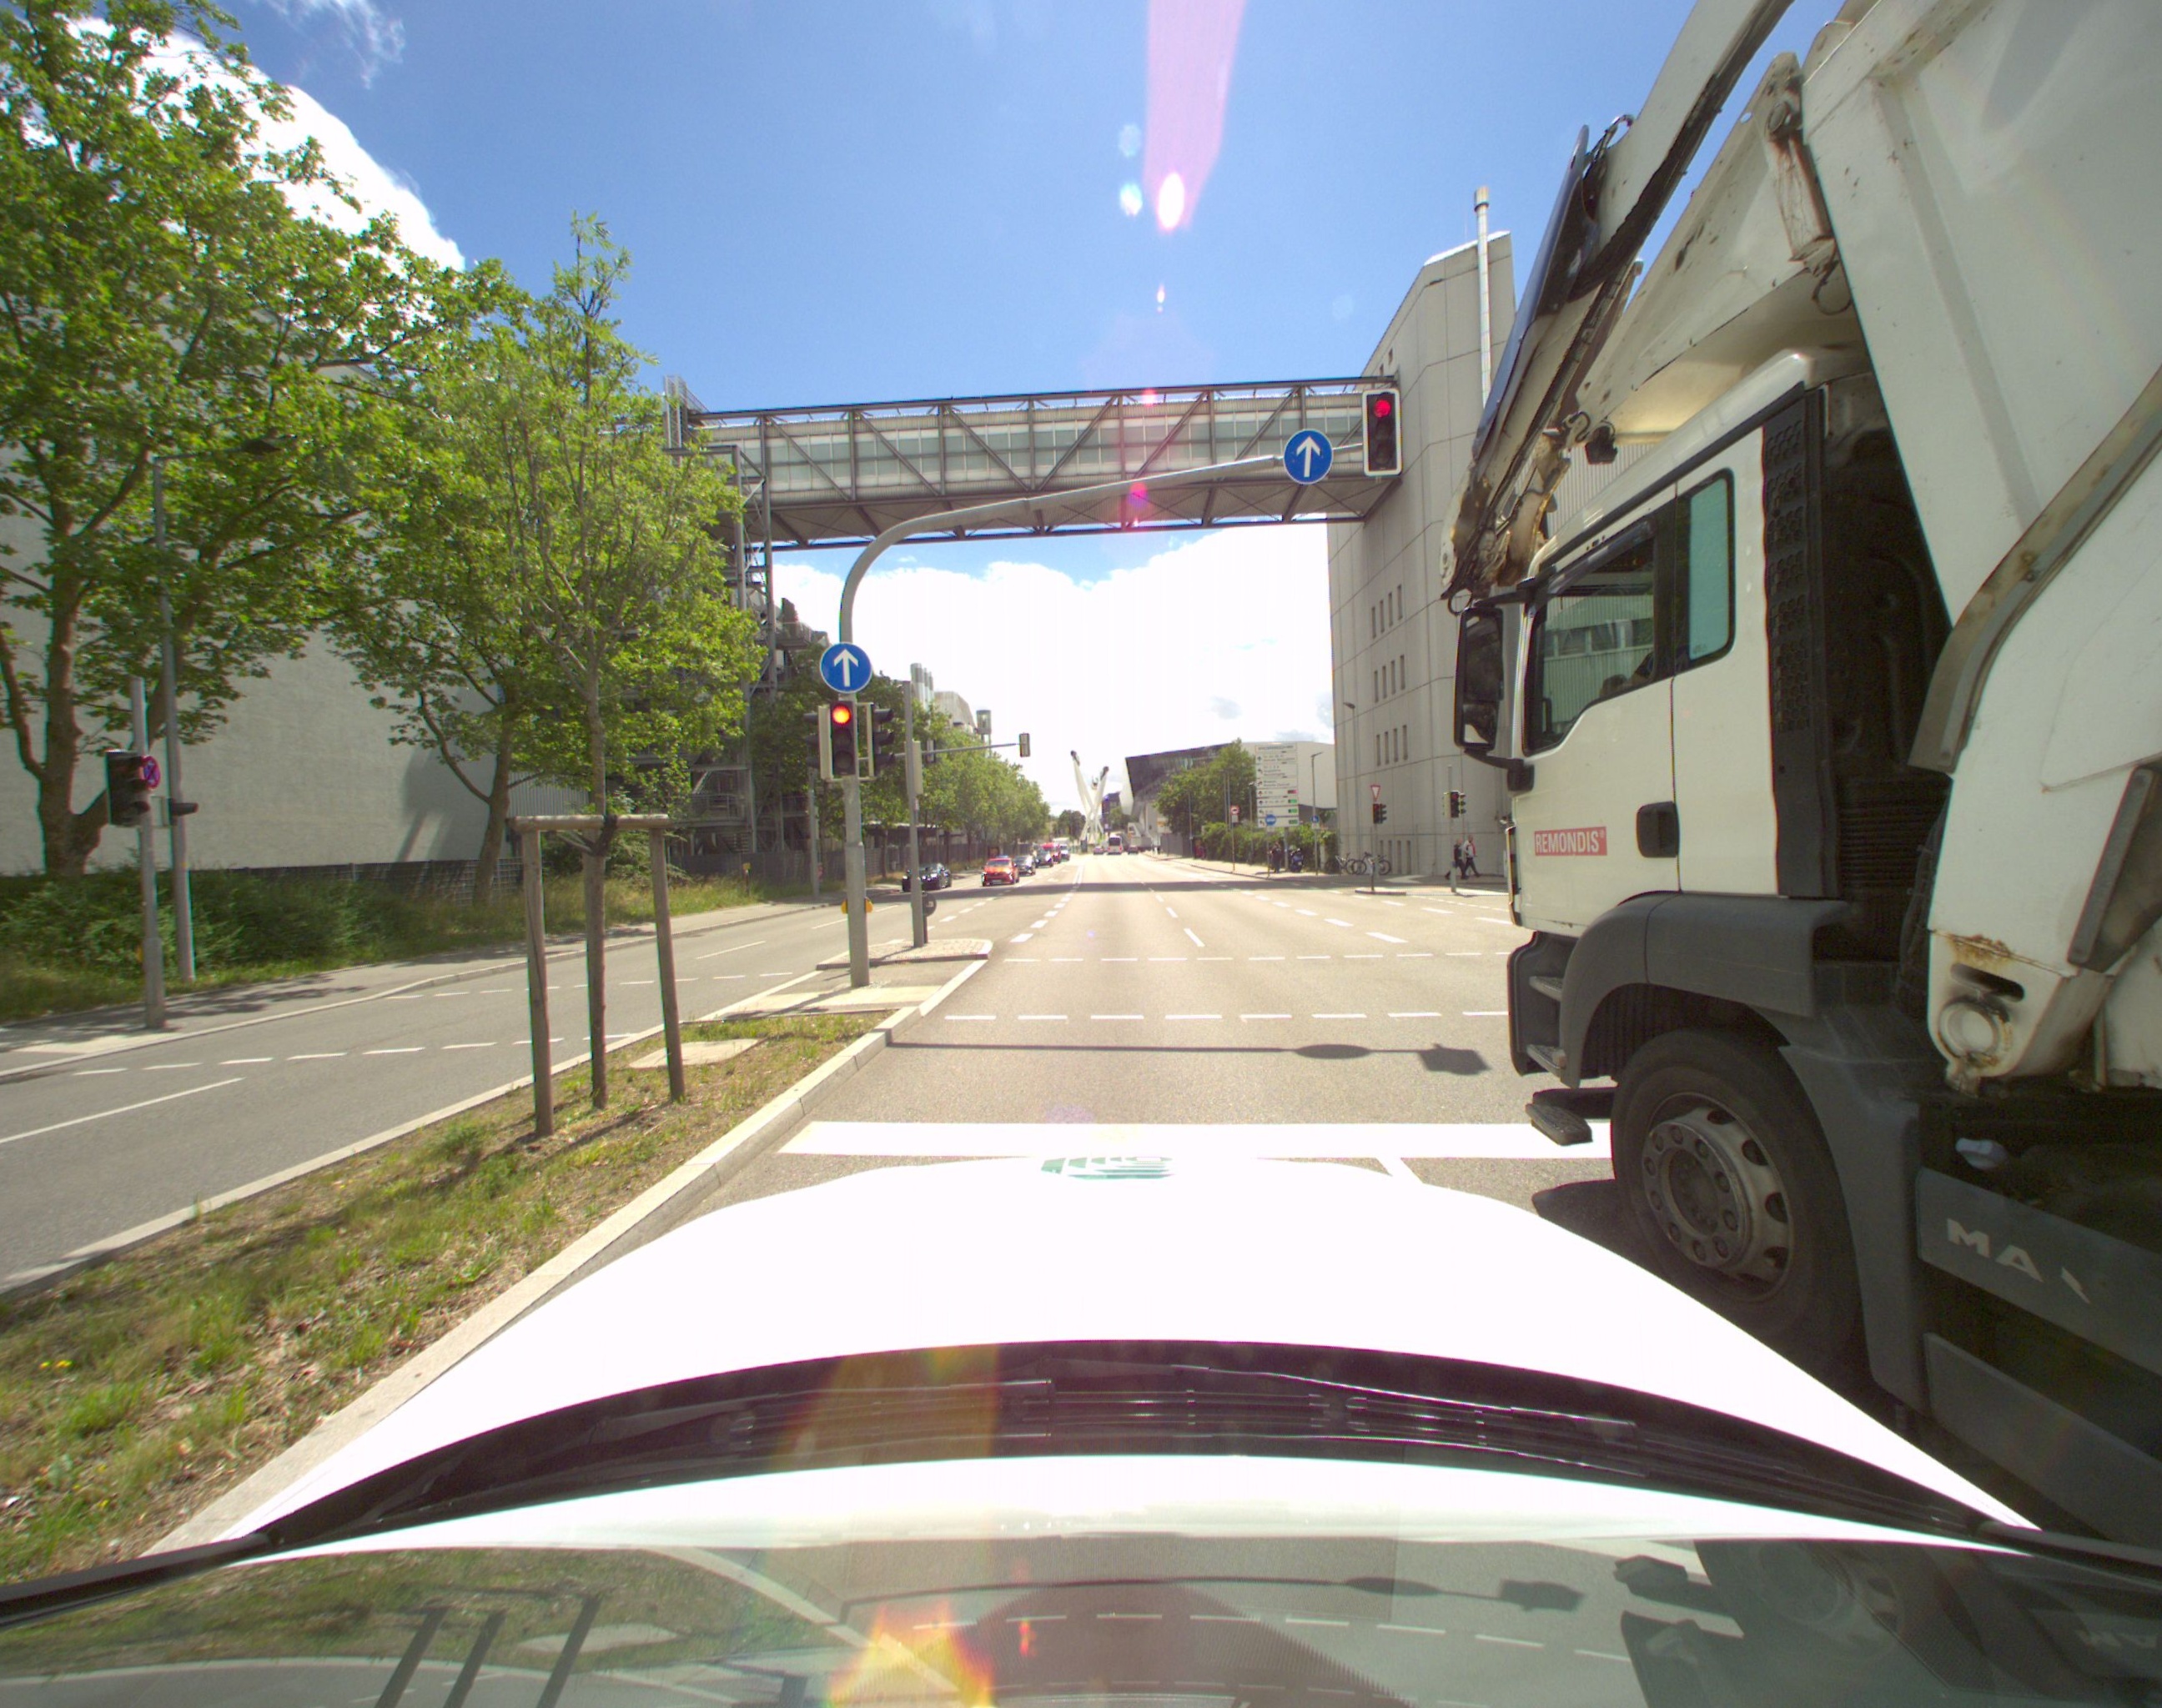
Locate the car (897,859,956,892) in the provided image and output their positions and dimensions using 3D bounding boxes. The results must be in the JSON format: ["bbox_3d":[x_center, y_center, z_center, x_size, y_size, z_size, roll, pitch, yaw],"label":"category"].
[{"bbox_3d":[-8.125,1.106,43.266,1.910,1.488,4.775,-4,0,3],"label":"car"}]

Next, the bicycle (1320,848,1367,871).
[{"bbox_3d":[13.083,0.280,40.688,2.196,1.086,0.480,-1,-1,37],"label":"bicycle"}]

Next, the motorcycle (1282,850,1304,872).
[{"bbox_3d":[11.650,0.399,44.879,0.418,1.166,1.951,0,-1,-9],"label":"motorcycle"}]

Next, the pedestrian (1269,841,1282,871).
[{"bbox_3d":[10.812,0.101,45.265,0.532,1.640,0.657,0,-1,-4],"label":"pedestrian"}]

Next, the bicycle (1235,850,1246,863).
[{"bbox_3d":[12.726,0.178,65.114,0.417,1.022,1.911,0,-1,-2],"label":"bicycle"}]

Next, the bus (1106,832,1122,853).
[{"bbox_3d":[6.139,-2.104,150.254,2.776,3.686,6.947,0,-1,3],"label":"bus"}]

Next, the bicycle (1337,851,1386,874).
[{"bbox_3d":[13.570,0.403,39.415,2.196,1.086,0.480,-1,-1,37],"label":"bicycle"}]

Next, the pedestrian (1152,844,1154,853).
[{"bbox_3d":[11.974,-0.890,135.811,0.384,1.421,0.424,0,-1,2],"label":"pedestrian"}]

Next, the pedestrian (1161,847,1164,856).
[{"bbox_3d":[13.279,-0.359,132.591,0.384,1.421,0.424,0,-1,2],"label":"pedestrian"}]

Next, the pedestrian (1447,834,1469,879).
[{"bbox_3d":[15.263,0.095,32.970,0.703,1.793,0.647,-4,0,23],"label":"pedestrian"}]

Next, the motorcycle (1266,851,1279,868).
[{"bbox_3d":[12.174,0.340,51.856,0.455,1.022,1.914,0,-1,4],"label":"motorcycle"}]

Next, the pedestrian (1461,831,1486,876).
[{"bbox_3d":[16.223,-0.005,33.632,0.703,1.793,0.698,-4,0,36],"label":"pedestrian"}]

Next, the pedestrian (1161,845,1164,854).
[{"bbox_3d":[13.555,-0.708,135.548,0.384,1.421,0.424,0,-1,2],"label":"pedestrian"}]

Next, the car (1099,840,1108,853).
[{"bbox_3d":[4.786,-1.564,171.293,1.836,2.624,4.002,0,-1,2],"label":"car"}]

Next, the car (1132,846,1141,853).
[{"bbox_3d":[9.929,-0.818,146.165,1.551,1.273,3.704,-4,0,3],"label":"car"}]

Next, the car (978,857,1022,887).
[{"bbox_3d":[-4.368,0.931,44.388,1.762,1.420,3.704,-4,0,3],"label":"car"}]

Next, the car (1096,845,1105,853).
[{"bbox_3d":[3.569,-0.938,148.847,1.551,1.273,3.704,-4,0,3],"label":"car"}]

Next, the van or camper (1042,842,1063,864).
[{"bbox_3d":[-3.373,-0.114,97.258,2.038,2.466,5.598,-1,0,3],"label":"van or camper"}]

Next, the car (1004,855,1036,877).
[{"bbox_3d":[-4.435,0.870,59.473,1.762,1.420,3.704,-4,0,3],"label":"car"}]

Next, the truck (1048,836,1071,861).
[{"bbox_3d":[-2.813,-0.691,109.936,2.581,3.324,7.083,0,-1,3],"label":"truck"}]

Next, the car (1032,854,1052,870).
[{"bbox_3d":[-3.898,0.754,82.251,1.551,1.448,3.775,-4,0,3],"label":"car"}]

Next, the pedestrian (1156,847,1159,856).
[{"bbox_3d":[12.483,-0.465,132.628,0.384,1.421,0.424,0,-1,2],"label":"pedestrian"}]

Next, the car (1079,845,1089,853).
[{"bbox_3d":[0.617,-0.958,155.842,1.551,1.273,3.704,-4,0,3],"label":"car"}]

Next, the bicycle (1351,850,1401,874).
[{"bbox_3d":[13.942,0.393,38.485,2.166,1.086,0.480,-1,-1,37],"label":"bicycle"}]

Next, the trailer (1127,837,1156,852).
[{"bbox_3d":[12.848,-1.946,172.092,3.291,2.995,10.429,-1,-1,21],"label":"trailer"}]
